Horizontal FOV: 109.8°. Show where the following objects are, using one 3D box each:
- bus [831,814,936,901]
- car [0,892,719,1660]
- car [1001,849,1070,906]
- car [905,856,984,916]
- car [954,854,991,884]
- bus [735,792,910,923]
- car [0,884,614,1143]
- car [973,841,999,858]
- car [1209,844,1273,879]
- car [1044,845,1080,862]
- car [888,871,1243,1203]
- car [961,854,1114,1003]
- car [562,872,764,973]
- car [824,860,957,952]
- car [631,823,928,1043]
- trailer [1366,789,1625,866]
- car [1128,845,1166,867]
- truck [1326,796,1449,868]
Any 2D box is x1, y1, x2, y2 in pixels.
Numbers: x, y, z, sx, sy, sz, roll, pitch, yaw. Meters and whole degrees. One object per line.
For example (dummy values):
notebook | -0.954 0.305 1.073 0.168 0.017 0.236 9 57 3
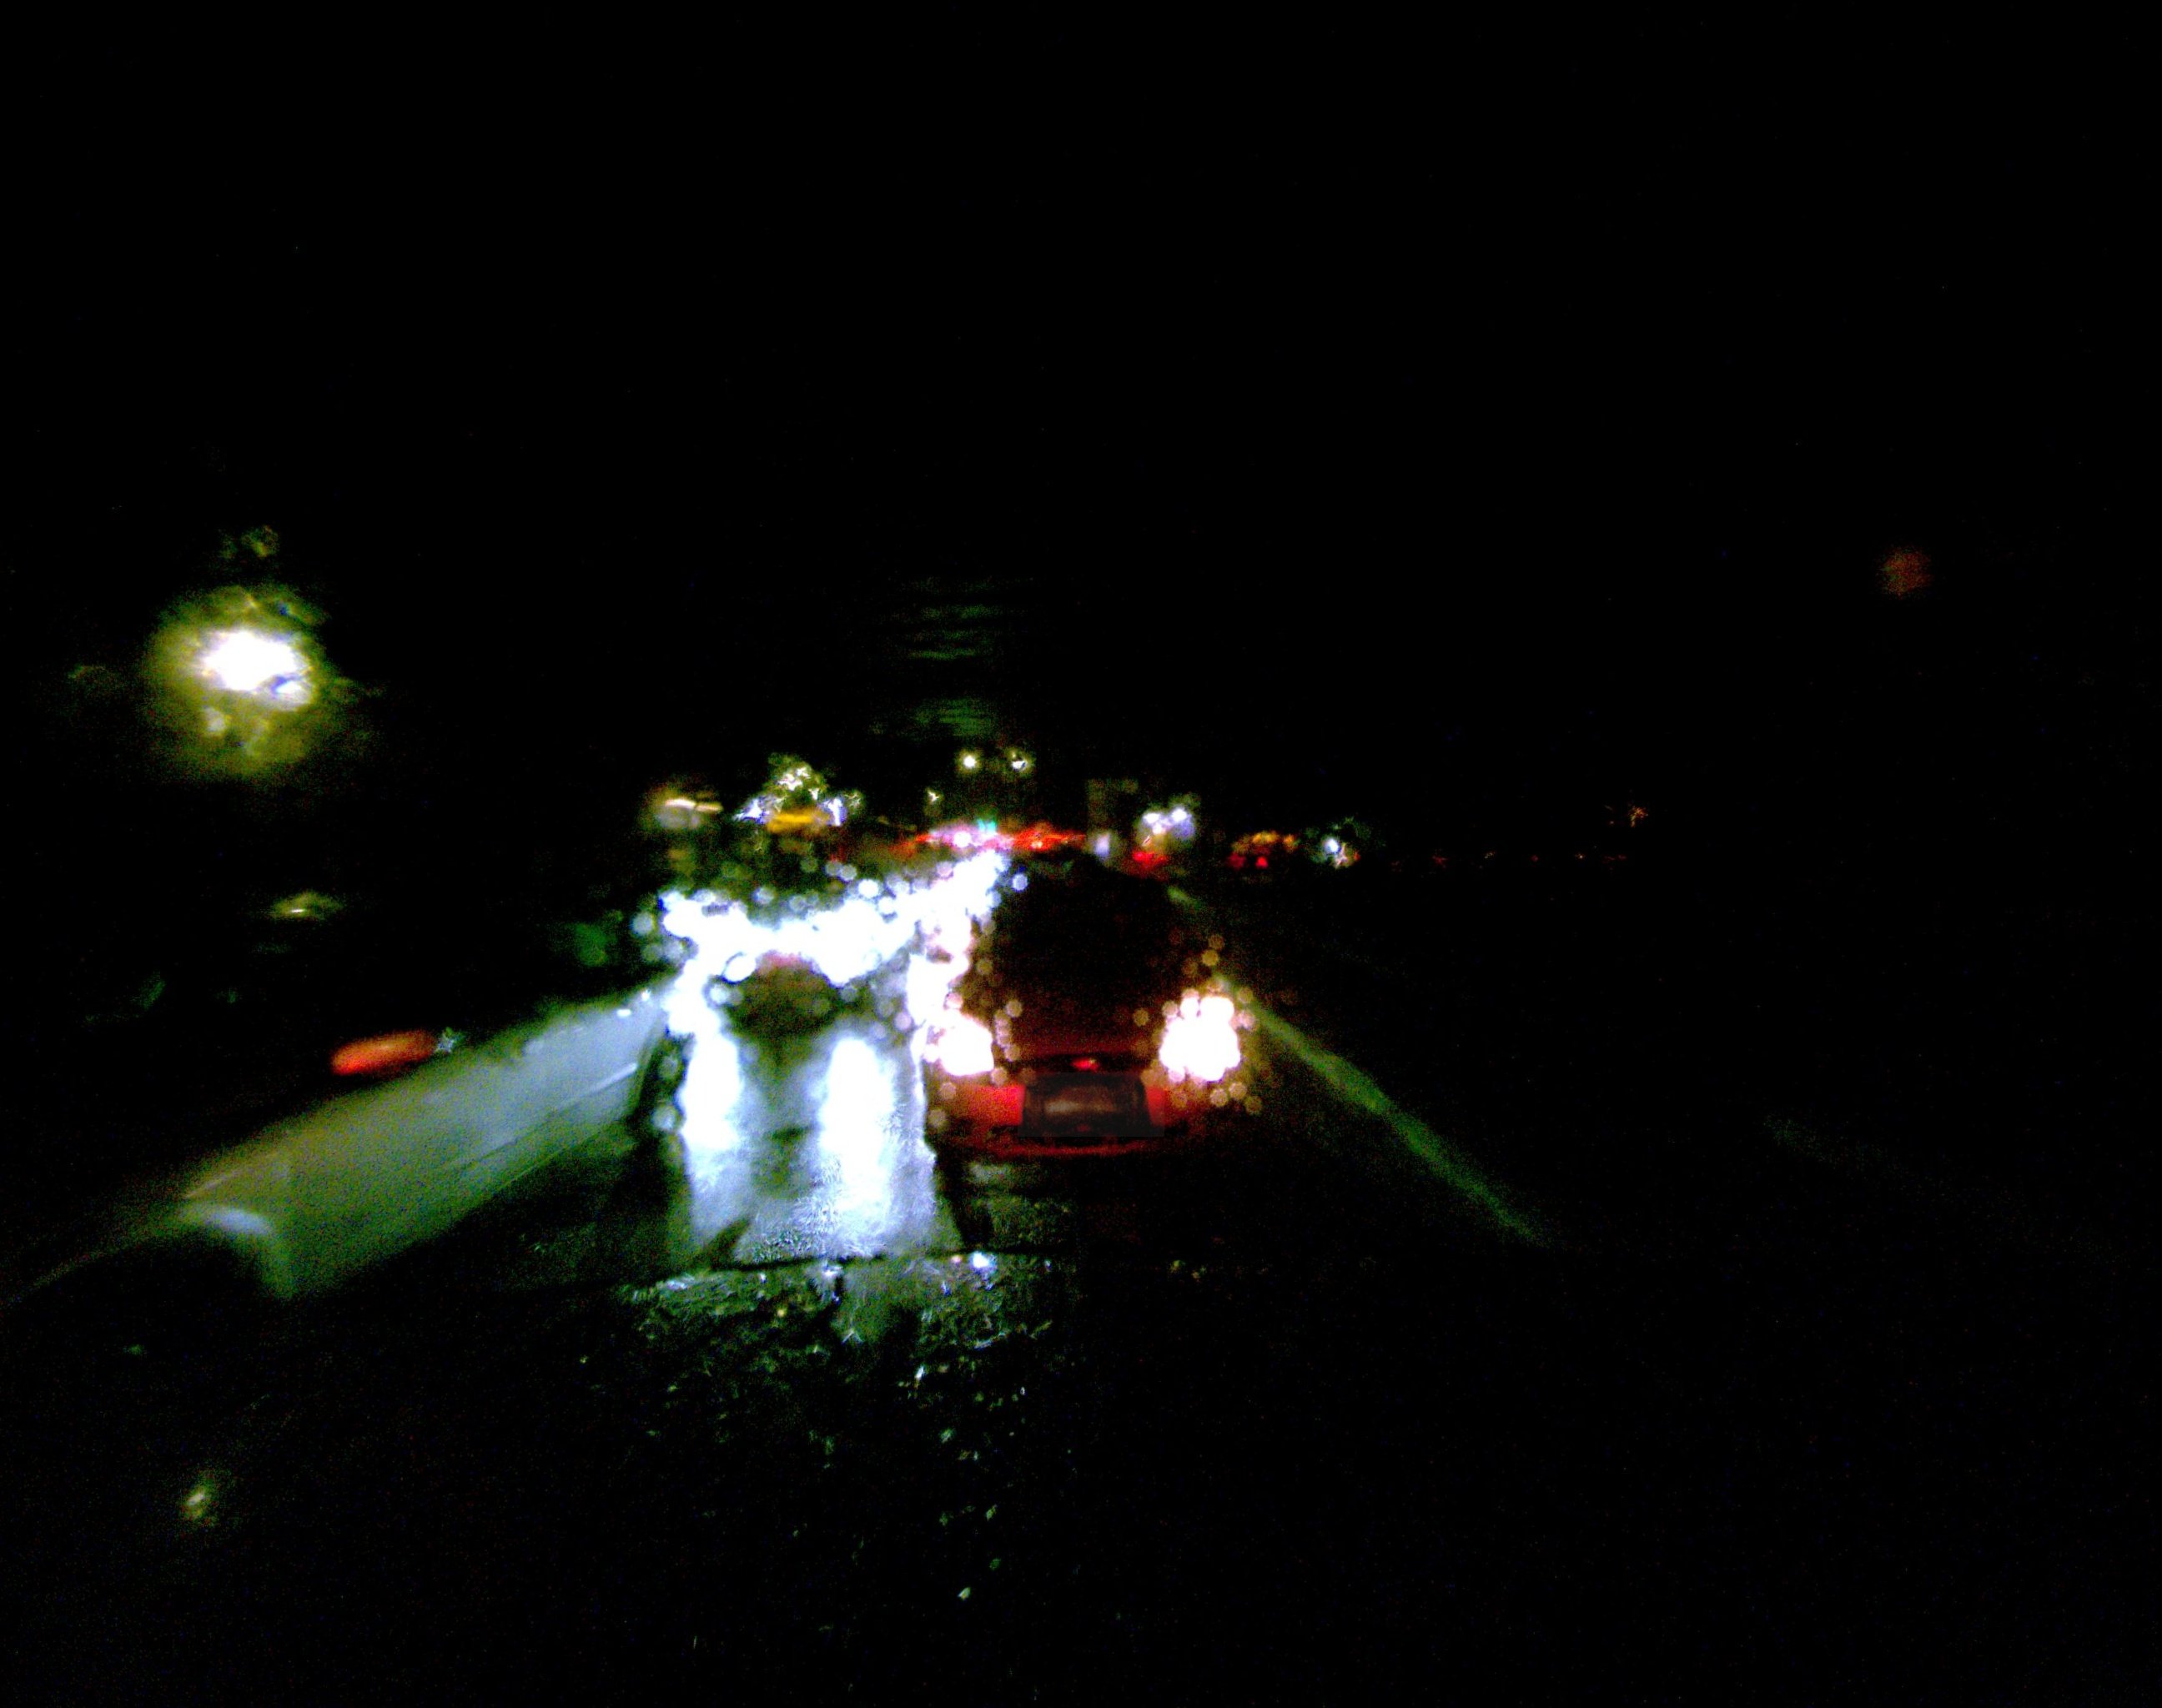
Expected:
bus | -8.273 0.145 33.149 2.777 3.105 9.757 -2 0 -5
car | -3.175 1.004 2.692 1.792 1.359 3.999 -2 2 0
car | -1.440 0.640 23.505 1.882 1.534 3.998 -2 1 -5
car | -3.919 0.870 22.439 1.629 1.494 3.999 -2 1 -1
car | -5.953 0.799 41.320 1.684 1.463 3.995 -2 1 -12
bus | -7.396 0.107 23.436 2.777 3.105 9.757 -2 0 -5
car | -6.511 1.071 6.894 1.756 1.382 4.566 -2 0 -1
car | -11.517 -0.498 91.830 2.002 1.915 3.992 -3 1 -24
car | 7.998 0.337 38.387 1.999 1.596 3.997 -2 1 -6
car | -1.795 -0.039 70.269 2.002 1.510 3.992 -3 1 -23
car | -0.045 0.906 5.517 1.603 1.360 3.942 -2 1 1
car | -0.465 0.849 10.627 1.683 1.591 3.996 -2 1 1
car | -7.169 1.086 13.508 1.755 1.422 3.758 -1 0 -5
car | -3.705 0.944 15.481 1.869 1.503 3.765 -2 1 -3
car | -3.368 0.747 9.586 1.999 2.076 4.347 -2 1 -1
trailer | 25.805 -1.609 48.145 13.903 4.152 3.971 -2 1 6
car | 5.219 0.163 60.480 1.824 1.595 4.138 -2 1 -13
truck | 19.481 -1.369 48.762 6.369 4.152 3.971 -2 1 6
